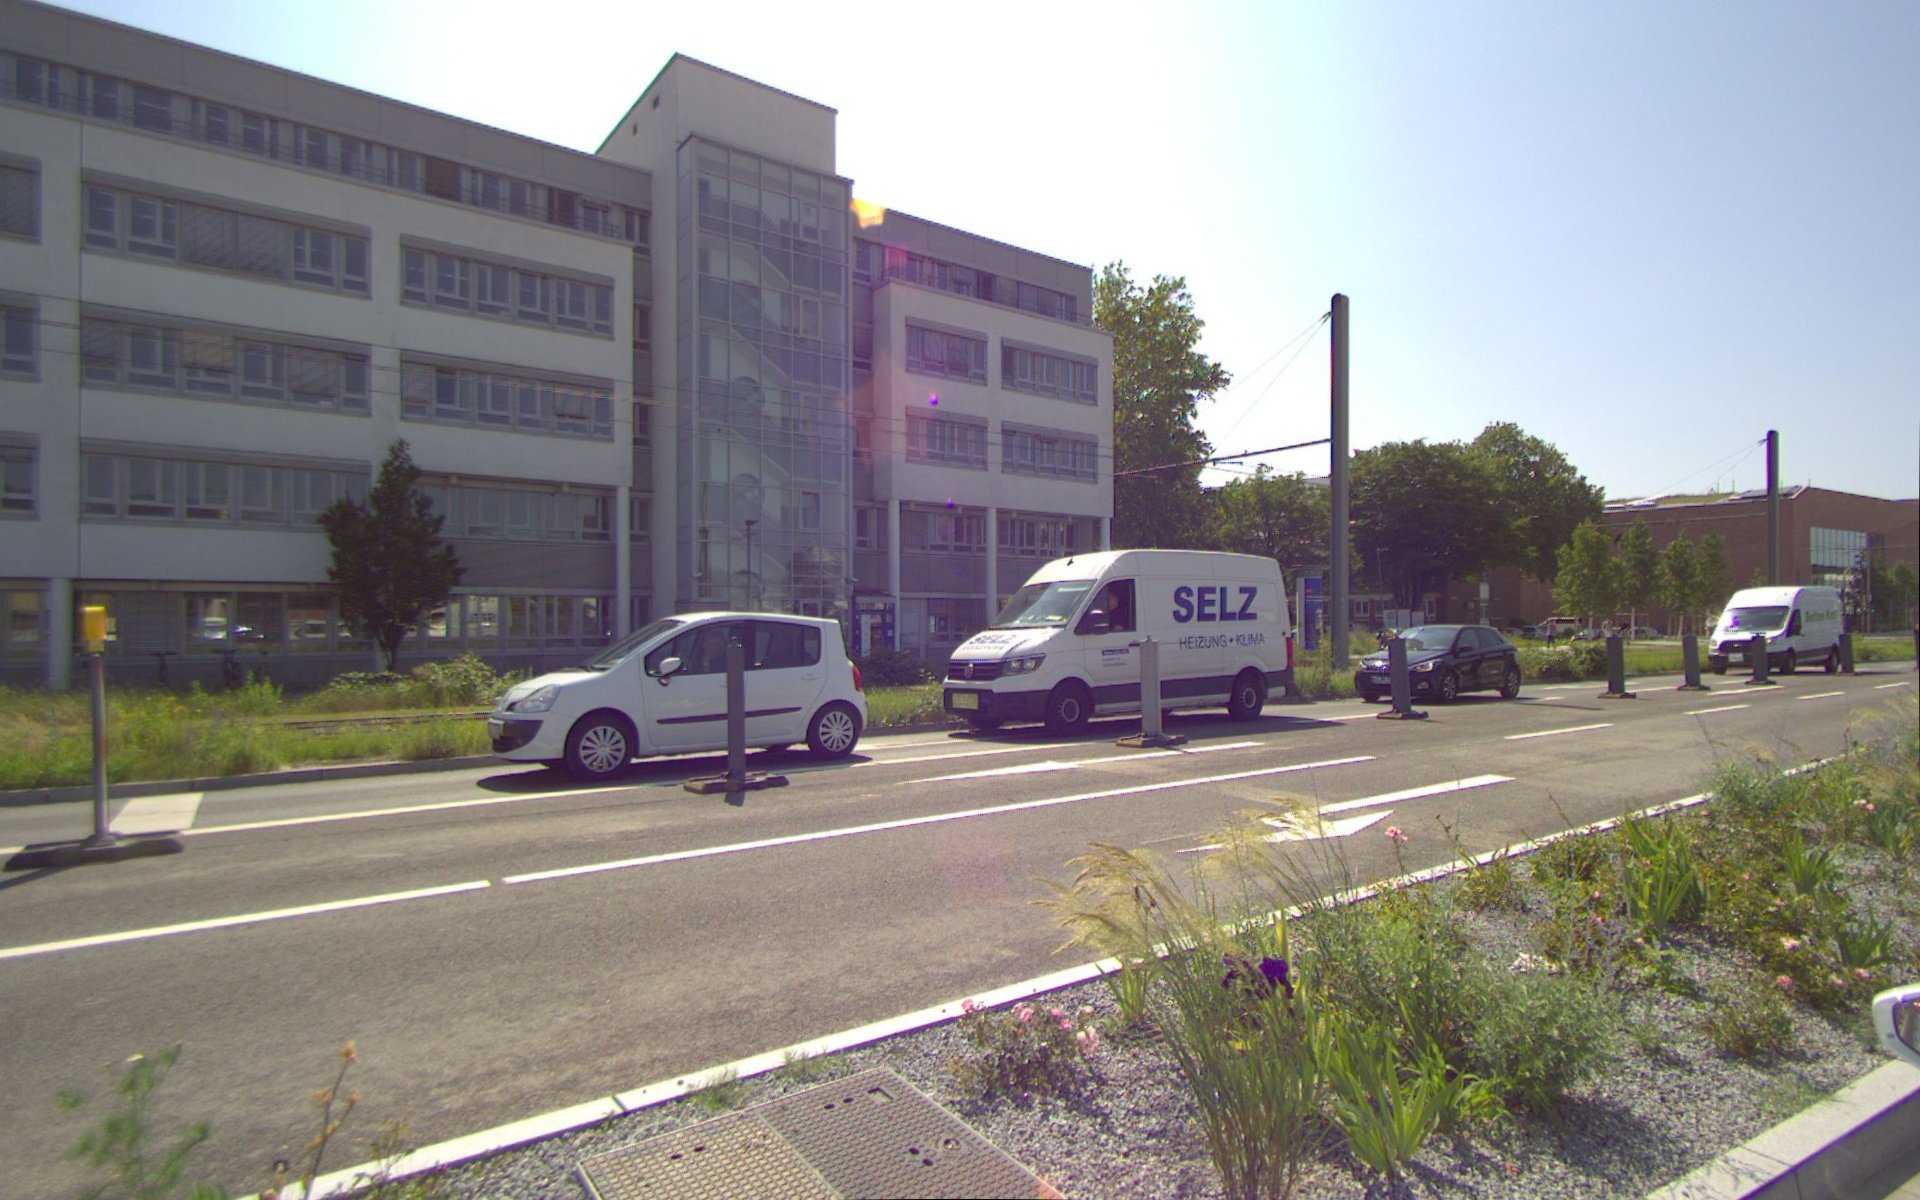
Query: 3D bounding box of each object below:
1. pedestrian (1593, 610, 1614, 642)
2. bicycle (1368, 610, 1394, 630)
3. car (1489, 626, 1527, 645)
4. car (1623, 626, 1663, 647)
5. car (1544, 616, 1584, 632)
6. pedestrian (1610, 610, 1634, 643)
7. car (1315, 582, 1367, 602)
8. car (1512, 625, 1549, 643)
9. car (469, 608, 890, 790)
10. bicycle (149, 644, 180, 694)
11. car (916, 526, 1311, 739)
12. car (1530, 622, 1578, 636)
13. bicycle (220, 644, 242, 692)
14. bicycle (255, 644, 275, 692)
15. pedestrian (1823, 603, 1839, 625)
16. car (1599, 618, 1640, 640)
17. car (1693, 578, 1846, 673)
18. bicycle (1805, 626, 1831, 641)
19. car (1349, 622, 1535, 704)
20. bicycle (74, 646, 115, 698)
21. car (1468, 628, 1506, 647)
[{"bbox_3d":[41.086,1.642,64.120,0.973,2.040,0.834,0,0,-34],"label":"pedestrian"},{"bbox_3d":[21.389,1.003,51.039,1.541,0.999,0.457,0,1,-34],"label":"bicycle"},{"bbox_3d":[46.646,3.028,85.465,3.756,1.477,1.526,0,0,-40],"label":"car"},{"bbox_3d":[60.520,3.259,88.976,4.261,1.784,1.686,2,-1,-37],"label":"car"},{"bbox_3d":[69.027,2.771,114.793,1.677,1.712,3.519,0,0,-36],"label":"car"},{"bbox_3d":[41.653,1.675,63.232,0.900,2.040,0.977,0,0,-34],"label":"pedestrian"},{"bbox_3d":[31.118,-0.639,82.073,3.691,1.476,1.538,3,-1,37],"label":"car"},{"bbox_3d":[50.694,3.012,89.273,3.752,1.477,1.527,0,0,-37],"label":"car"},{"bbox_3d":[-2.820,0.921,10.471,3.940,1.561,1.570,1,-4,-37],"label":"car"},{"bbox_3d":[-21.302,1.837,26.911,0.433,1.205,1.638,0,1,-30],"label":"bicycle"},{"bbox_3d":[2.464,0.504,14.977,6.133,2.612,2.018,1,-4,-36],"label":"car"},{"bbox_3d":[63.989,3.125,108.272,1.977,1.421,3.967,1,-1,-31],"label":"car"},{"bbox_3d":[-20.050,1.849,27.639,0.434,1.205,1.636,0,1,-34],"label":"bicycle"},{"bbox_3d":[-19.387,1.889,28.002,0.434,1.205,1.635,0,1,-35],"label":"bicycle"},{"bbox_3d":[77.701,1.241,89.624,1.094,1.871,0.807,0,0,-31],"label":"pedestrian"},{"bbox_3d":[55.885,2.465,85.125,3.902,1.784,1.686,2,-1,-36],"label":"car"},{"bbox_3d":[25.884,0.830,32.046,5.923,2.776,2.065,1,-3,-34],"label":"car"},{"bbox_3d":[89.030,3.435,104.179,2.029,1.472,0.536,0,0,43],"label":"bicycle"},{"bbox_3d":[9.608,1.202,19.921,4.153,1.476,1.535,1,-3,-37],"label":"car"},{"bbox_3d":[-22.318,1.831,25.928,0.515,1.205,1.638,0,1,-30],"label":"bicycle"},{"bbox_3d":[43.262,3.047,82.373,3.757,1.476,1.525,1,-1,-41],"label":"car"}]
